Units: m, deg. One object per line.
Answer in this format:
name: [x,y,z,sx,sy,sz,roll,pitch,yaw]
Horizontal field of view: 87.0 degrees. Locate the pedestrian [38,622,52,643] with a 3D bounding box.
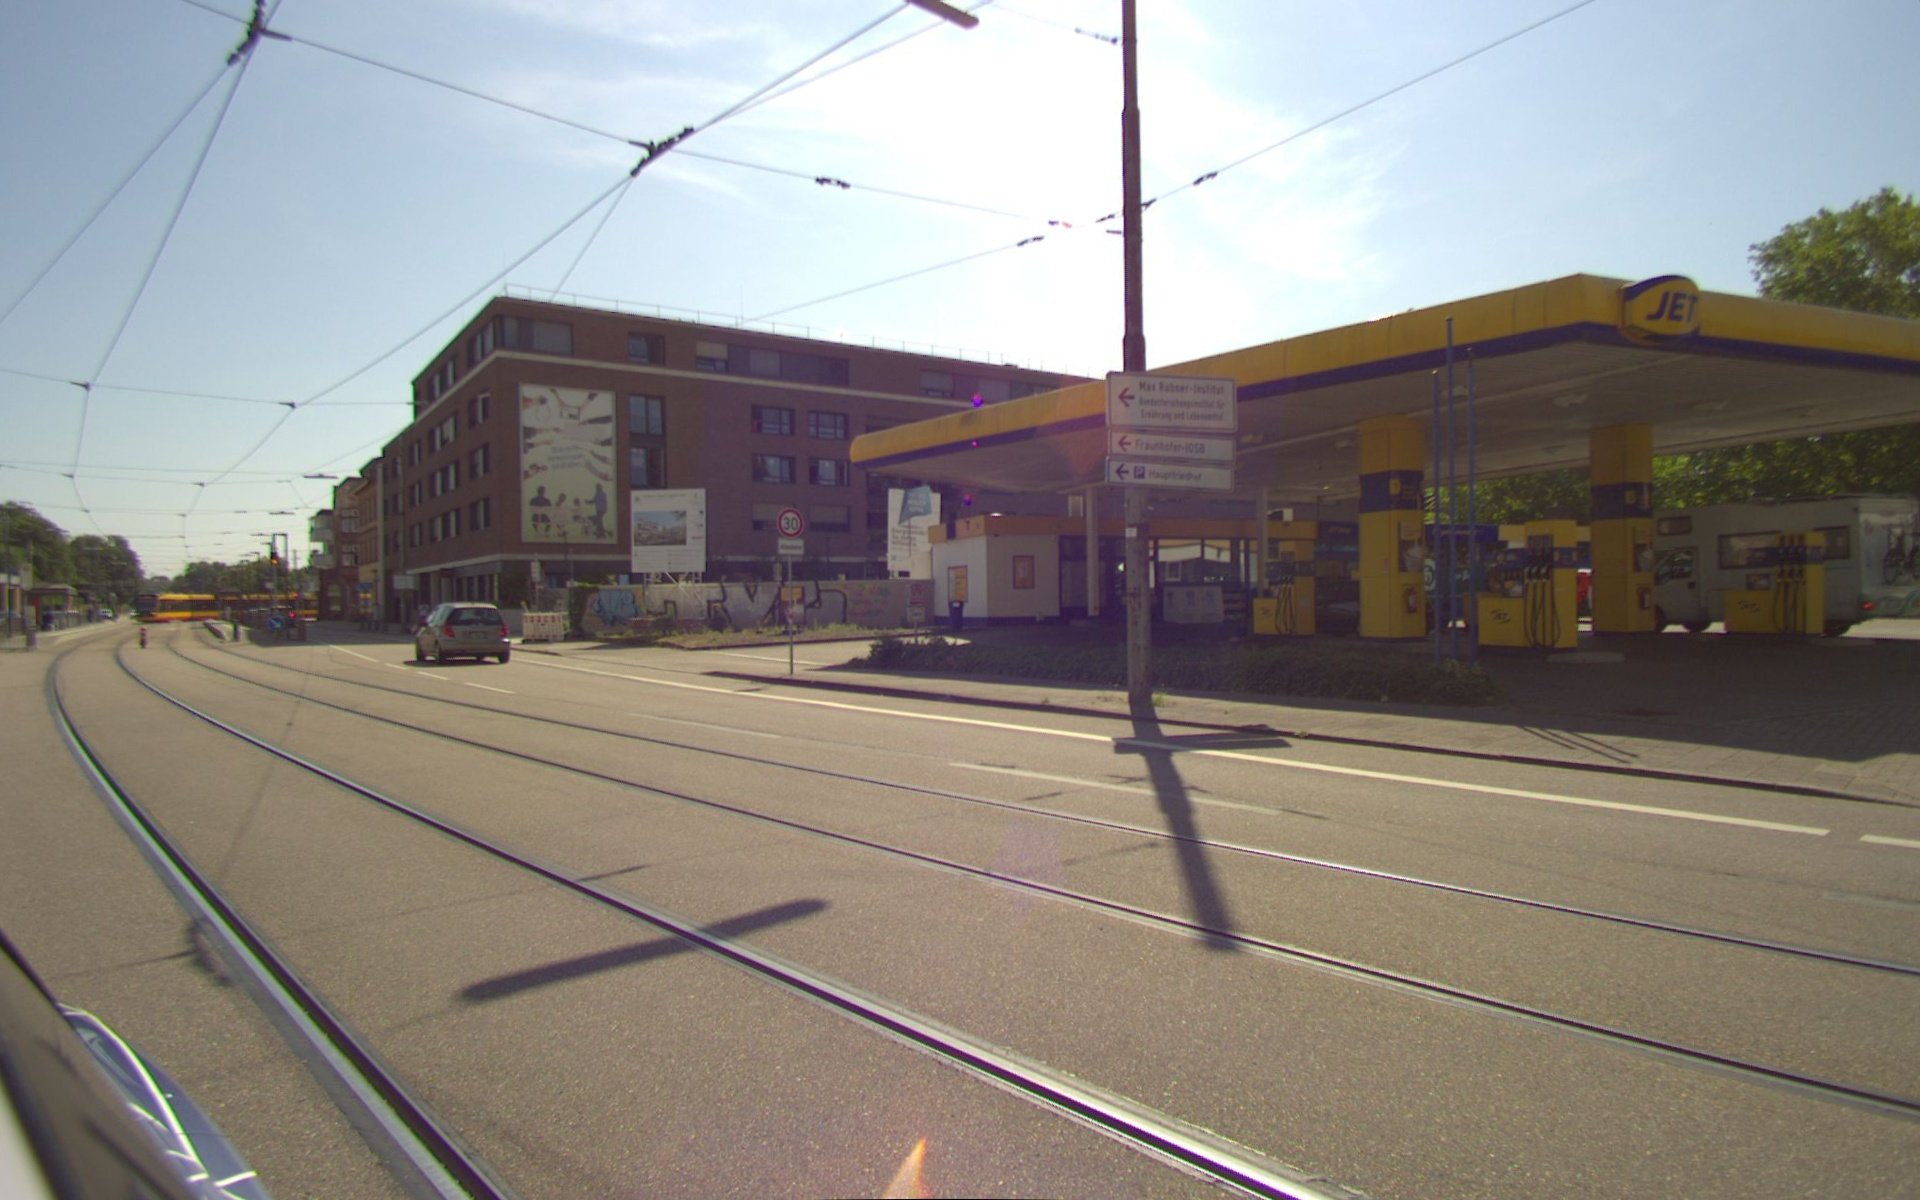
pedestrian: [-56.091,2.005,62.037,0.621,1.264,0.711,0,-1,-39]

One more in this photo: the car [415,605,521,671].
car: [-13.026,0.930,26.676,1.723,1.583,3.899,1,0,-38]

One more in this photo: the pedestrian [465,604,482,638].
pedestrian: [-24.472,1.065,50.899,0.573,1.677,0.701,0,-1,-39]

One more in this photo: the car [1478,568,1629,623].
car: [20.990,-0.224,36.023,1.748,1.775,4.489,-3,2,-22]

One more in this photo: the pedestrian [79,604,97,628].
pedestrian: [-69.243,1.300,80.368,0.968,1.872,1.240,0,-1,-38]

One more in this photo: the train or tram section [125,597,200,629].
train or tram section: [-94.485,1.472,120.258,2.642,3.506,13.380,-1,0,-18]

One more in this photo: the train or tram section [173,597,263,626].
train or tram section: [-96.977,1.467,132.621,2.649,3.506,13.347,-1,0,-3]

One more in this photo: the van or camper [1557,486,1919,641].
van or camper: [17.796,-0.830,23.272,2.571,2.989,6.736,-4,2,-23]

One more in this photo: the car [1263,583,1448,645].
car: [9.557,0.304,24.875,1.673,1.313,4.404,-3,1,-21]

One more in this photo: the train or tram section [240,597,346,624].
train or tram section: [-94.805,1.414,144.317,2.673,3.506,13.226,-1,0,25]

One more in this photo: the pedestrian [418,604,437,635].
pedestrian: [-31.690,1.168,60.205,0.833,1.832,0.840,-1,0,-38]

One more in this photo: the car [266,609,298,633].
car: [-53.183,1.608,79.381,1.778,1.742,4.197,-3,1,-37]
